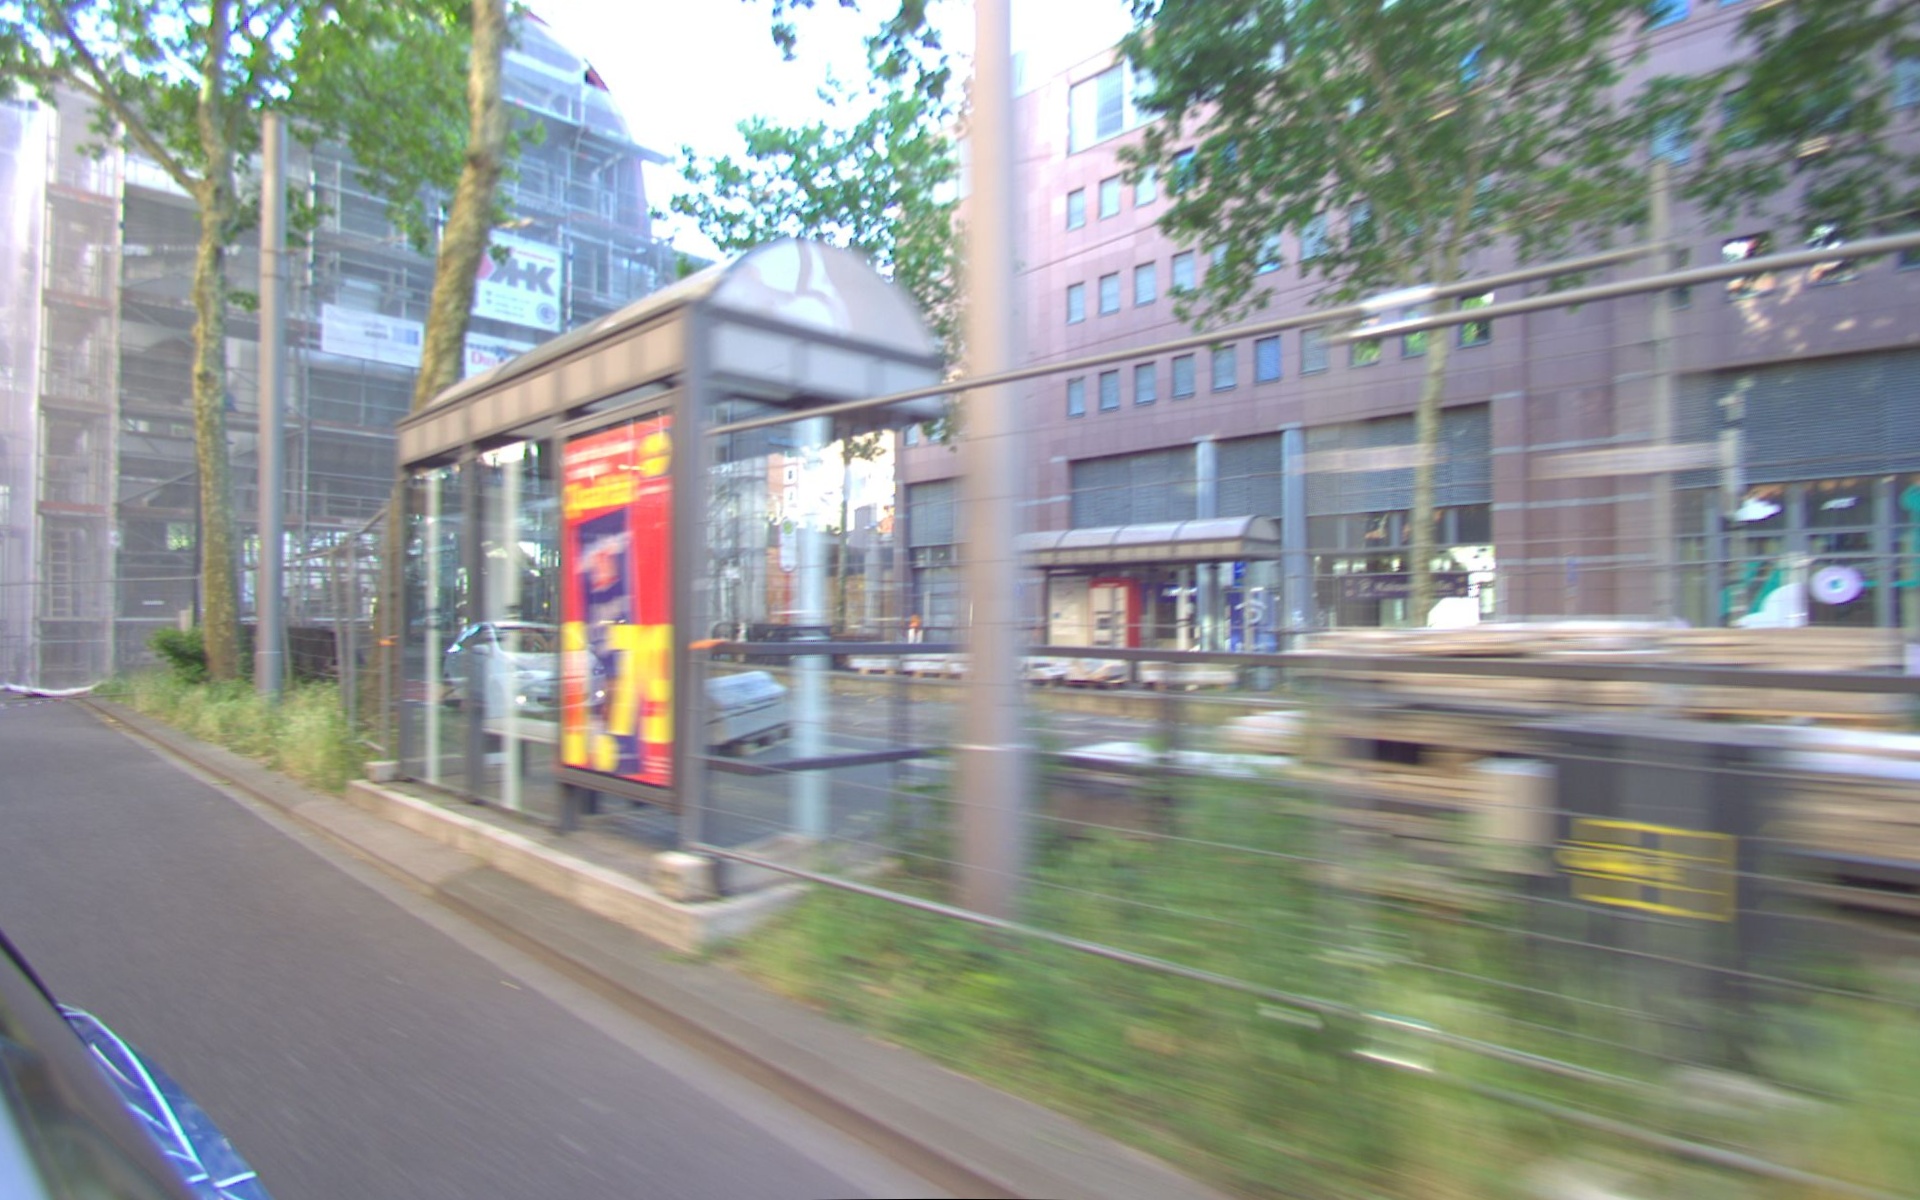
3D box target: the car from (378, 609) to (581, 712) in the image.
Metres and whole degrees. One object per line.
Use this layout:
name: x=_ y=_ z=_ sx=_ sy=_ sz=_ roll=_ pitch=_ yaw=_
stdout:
car: x=-7.701 y=0.903 z=16.118 sx=3.441 sy=1.456 sz=1.708 roll=-1 pitch=-2 yaw=41
